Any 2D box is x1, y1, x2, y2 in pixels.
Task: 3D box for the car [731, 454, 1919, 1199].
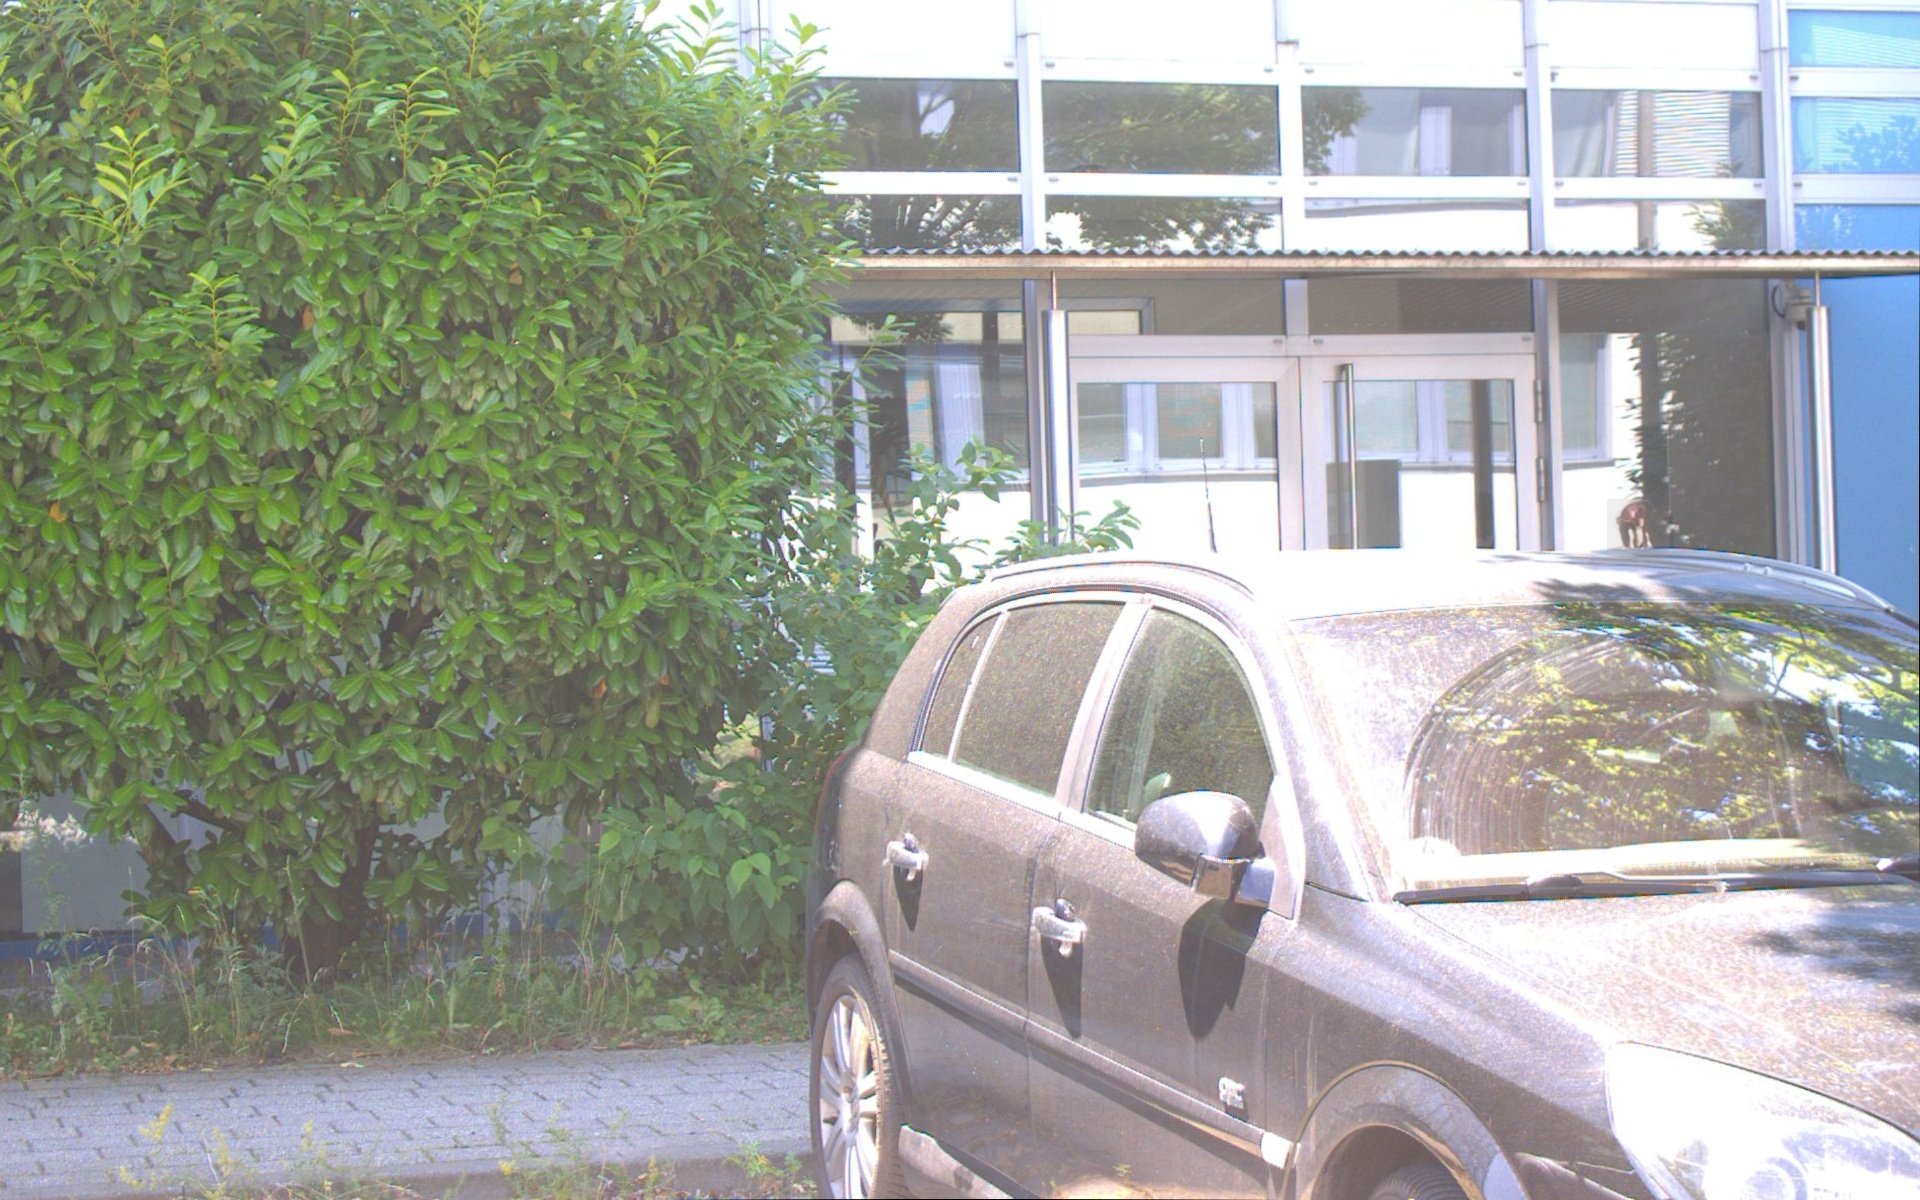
[{"bbox_3d":[0.960,0.608,5.981,1.757,1.544,4.567,0,0,-16],"label":"car"}]
